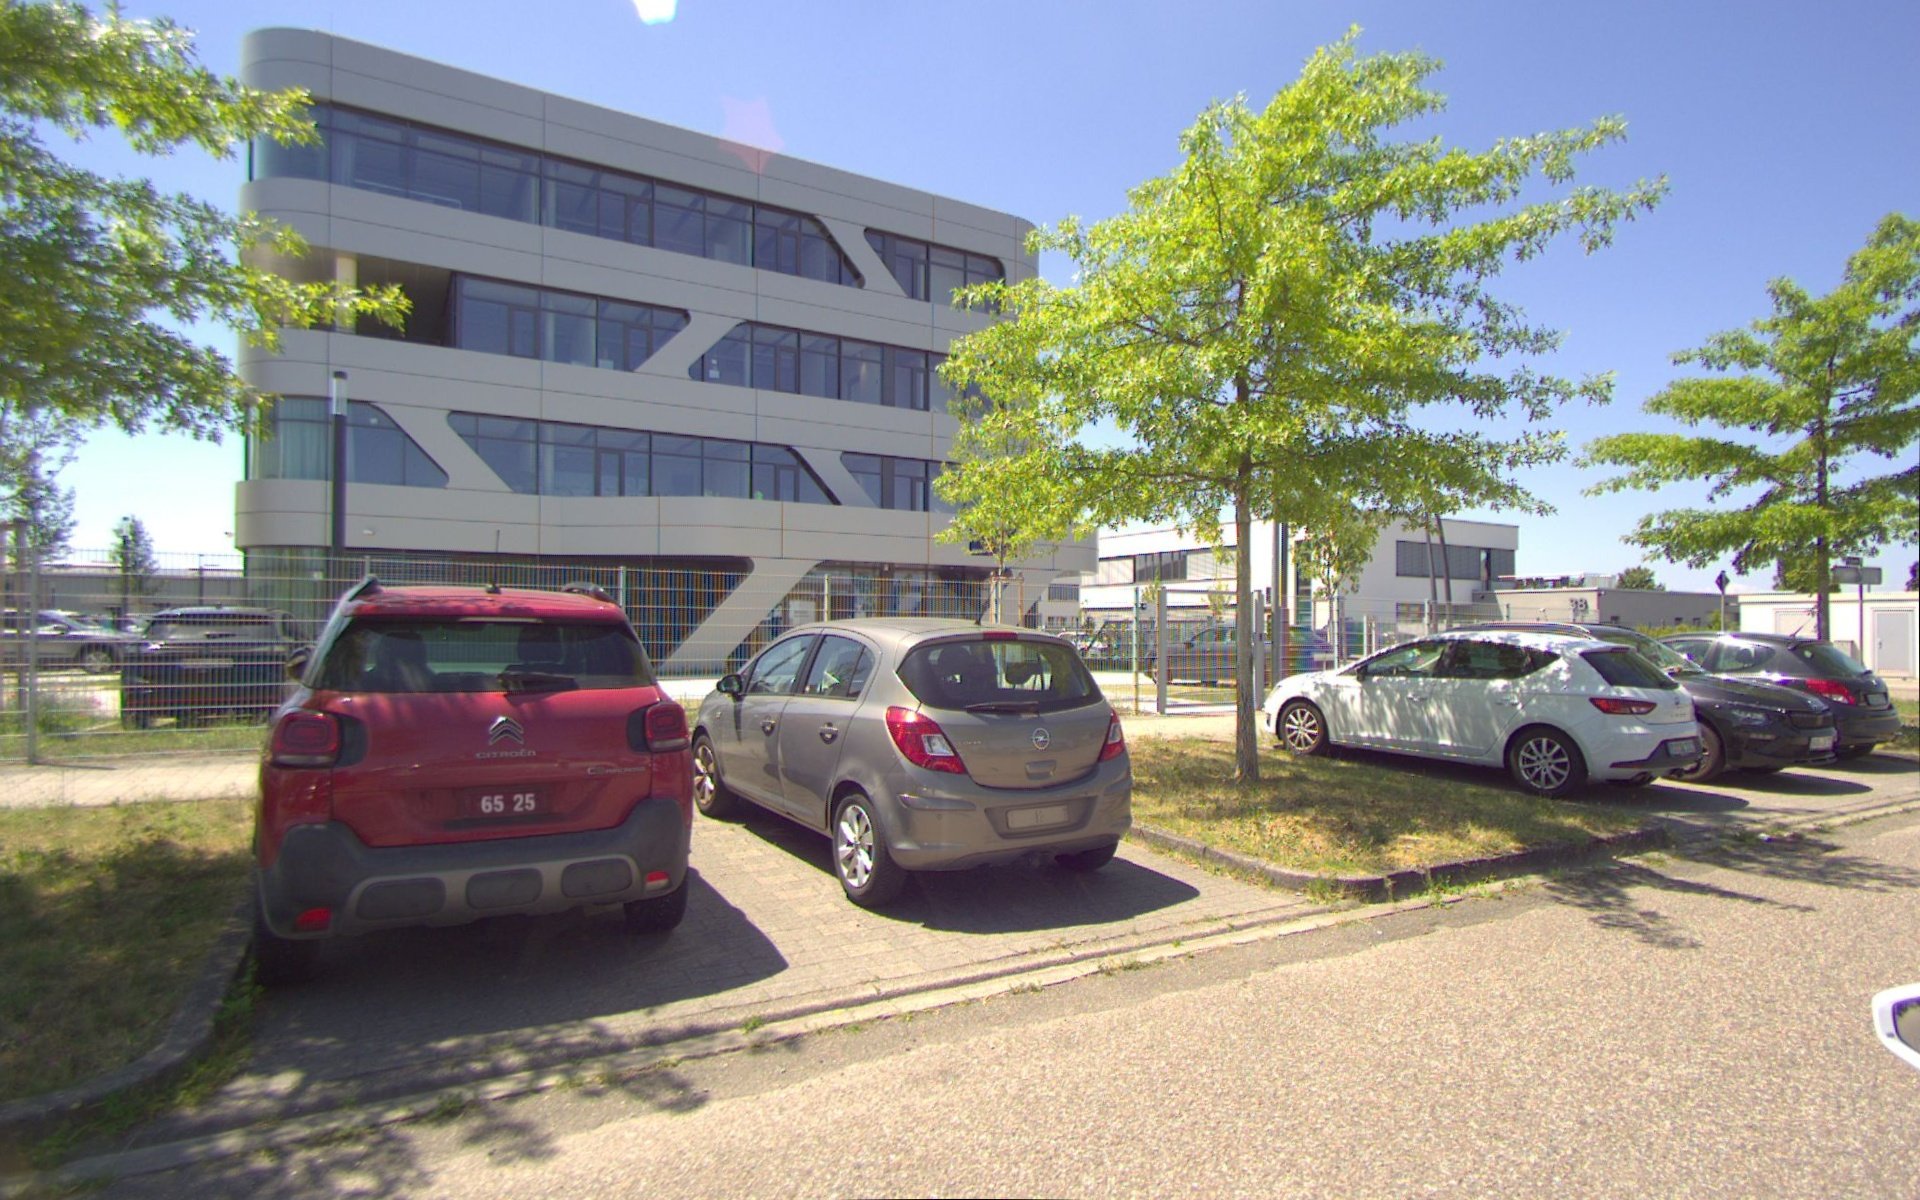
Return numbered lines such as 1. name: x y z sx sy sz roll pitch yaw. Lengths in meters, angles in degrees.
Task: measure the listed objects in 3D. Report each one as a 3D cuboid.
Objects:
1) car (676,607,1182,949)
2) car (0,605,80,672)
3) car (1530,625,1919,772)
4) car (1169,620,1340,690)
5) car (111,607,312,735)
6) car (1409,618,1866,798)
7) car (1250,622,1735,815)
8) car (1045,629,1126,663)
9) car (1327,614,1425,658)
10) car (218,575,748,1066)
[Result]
1. car: -0.471 0.849 6.647 1.713 1.529 3.635 1 0 -33
2. car: -25.941 1.010 26.326 3.953 1.739 1.984 1 -2 -30
3. car: 9.559 1.114 12.798 1.707 1.455 3.605 1 0 -32
4. car: 6.467 1.203 22.368 1.658 1.409 3.463 1 -3 -30
5. car: -9.470 0.879 12.966 1.658 1.409 3.463 1 -3 -30
6. car: 7.392 1.035 11.358 1.765 1.541 3.905 1 0 -32
7. car: 5.225 1.021 10.398 1.854 1.443 4.051 1 0 -33
8. car: 6.268 2.306 50.658 1.979 1.560 3.964 4 -4 -33
9. car: 20.136 1.754 48.765 1.979 2.040 3.964 1 -2 -33
10. car: -2.573 0.739 5.435 1.794 1.643 3.721 1 0 -29
